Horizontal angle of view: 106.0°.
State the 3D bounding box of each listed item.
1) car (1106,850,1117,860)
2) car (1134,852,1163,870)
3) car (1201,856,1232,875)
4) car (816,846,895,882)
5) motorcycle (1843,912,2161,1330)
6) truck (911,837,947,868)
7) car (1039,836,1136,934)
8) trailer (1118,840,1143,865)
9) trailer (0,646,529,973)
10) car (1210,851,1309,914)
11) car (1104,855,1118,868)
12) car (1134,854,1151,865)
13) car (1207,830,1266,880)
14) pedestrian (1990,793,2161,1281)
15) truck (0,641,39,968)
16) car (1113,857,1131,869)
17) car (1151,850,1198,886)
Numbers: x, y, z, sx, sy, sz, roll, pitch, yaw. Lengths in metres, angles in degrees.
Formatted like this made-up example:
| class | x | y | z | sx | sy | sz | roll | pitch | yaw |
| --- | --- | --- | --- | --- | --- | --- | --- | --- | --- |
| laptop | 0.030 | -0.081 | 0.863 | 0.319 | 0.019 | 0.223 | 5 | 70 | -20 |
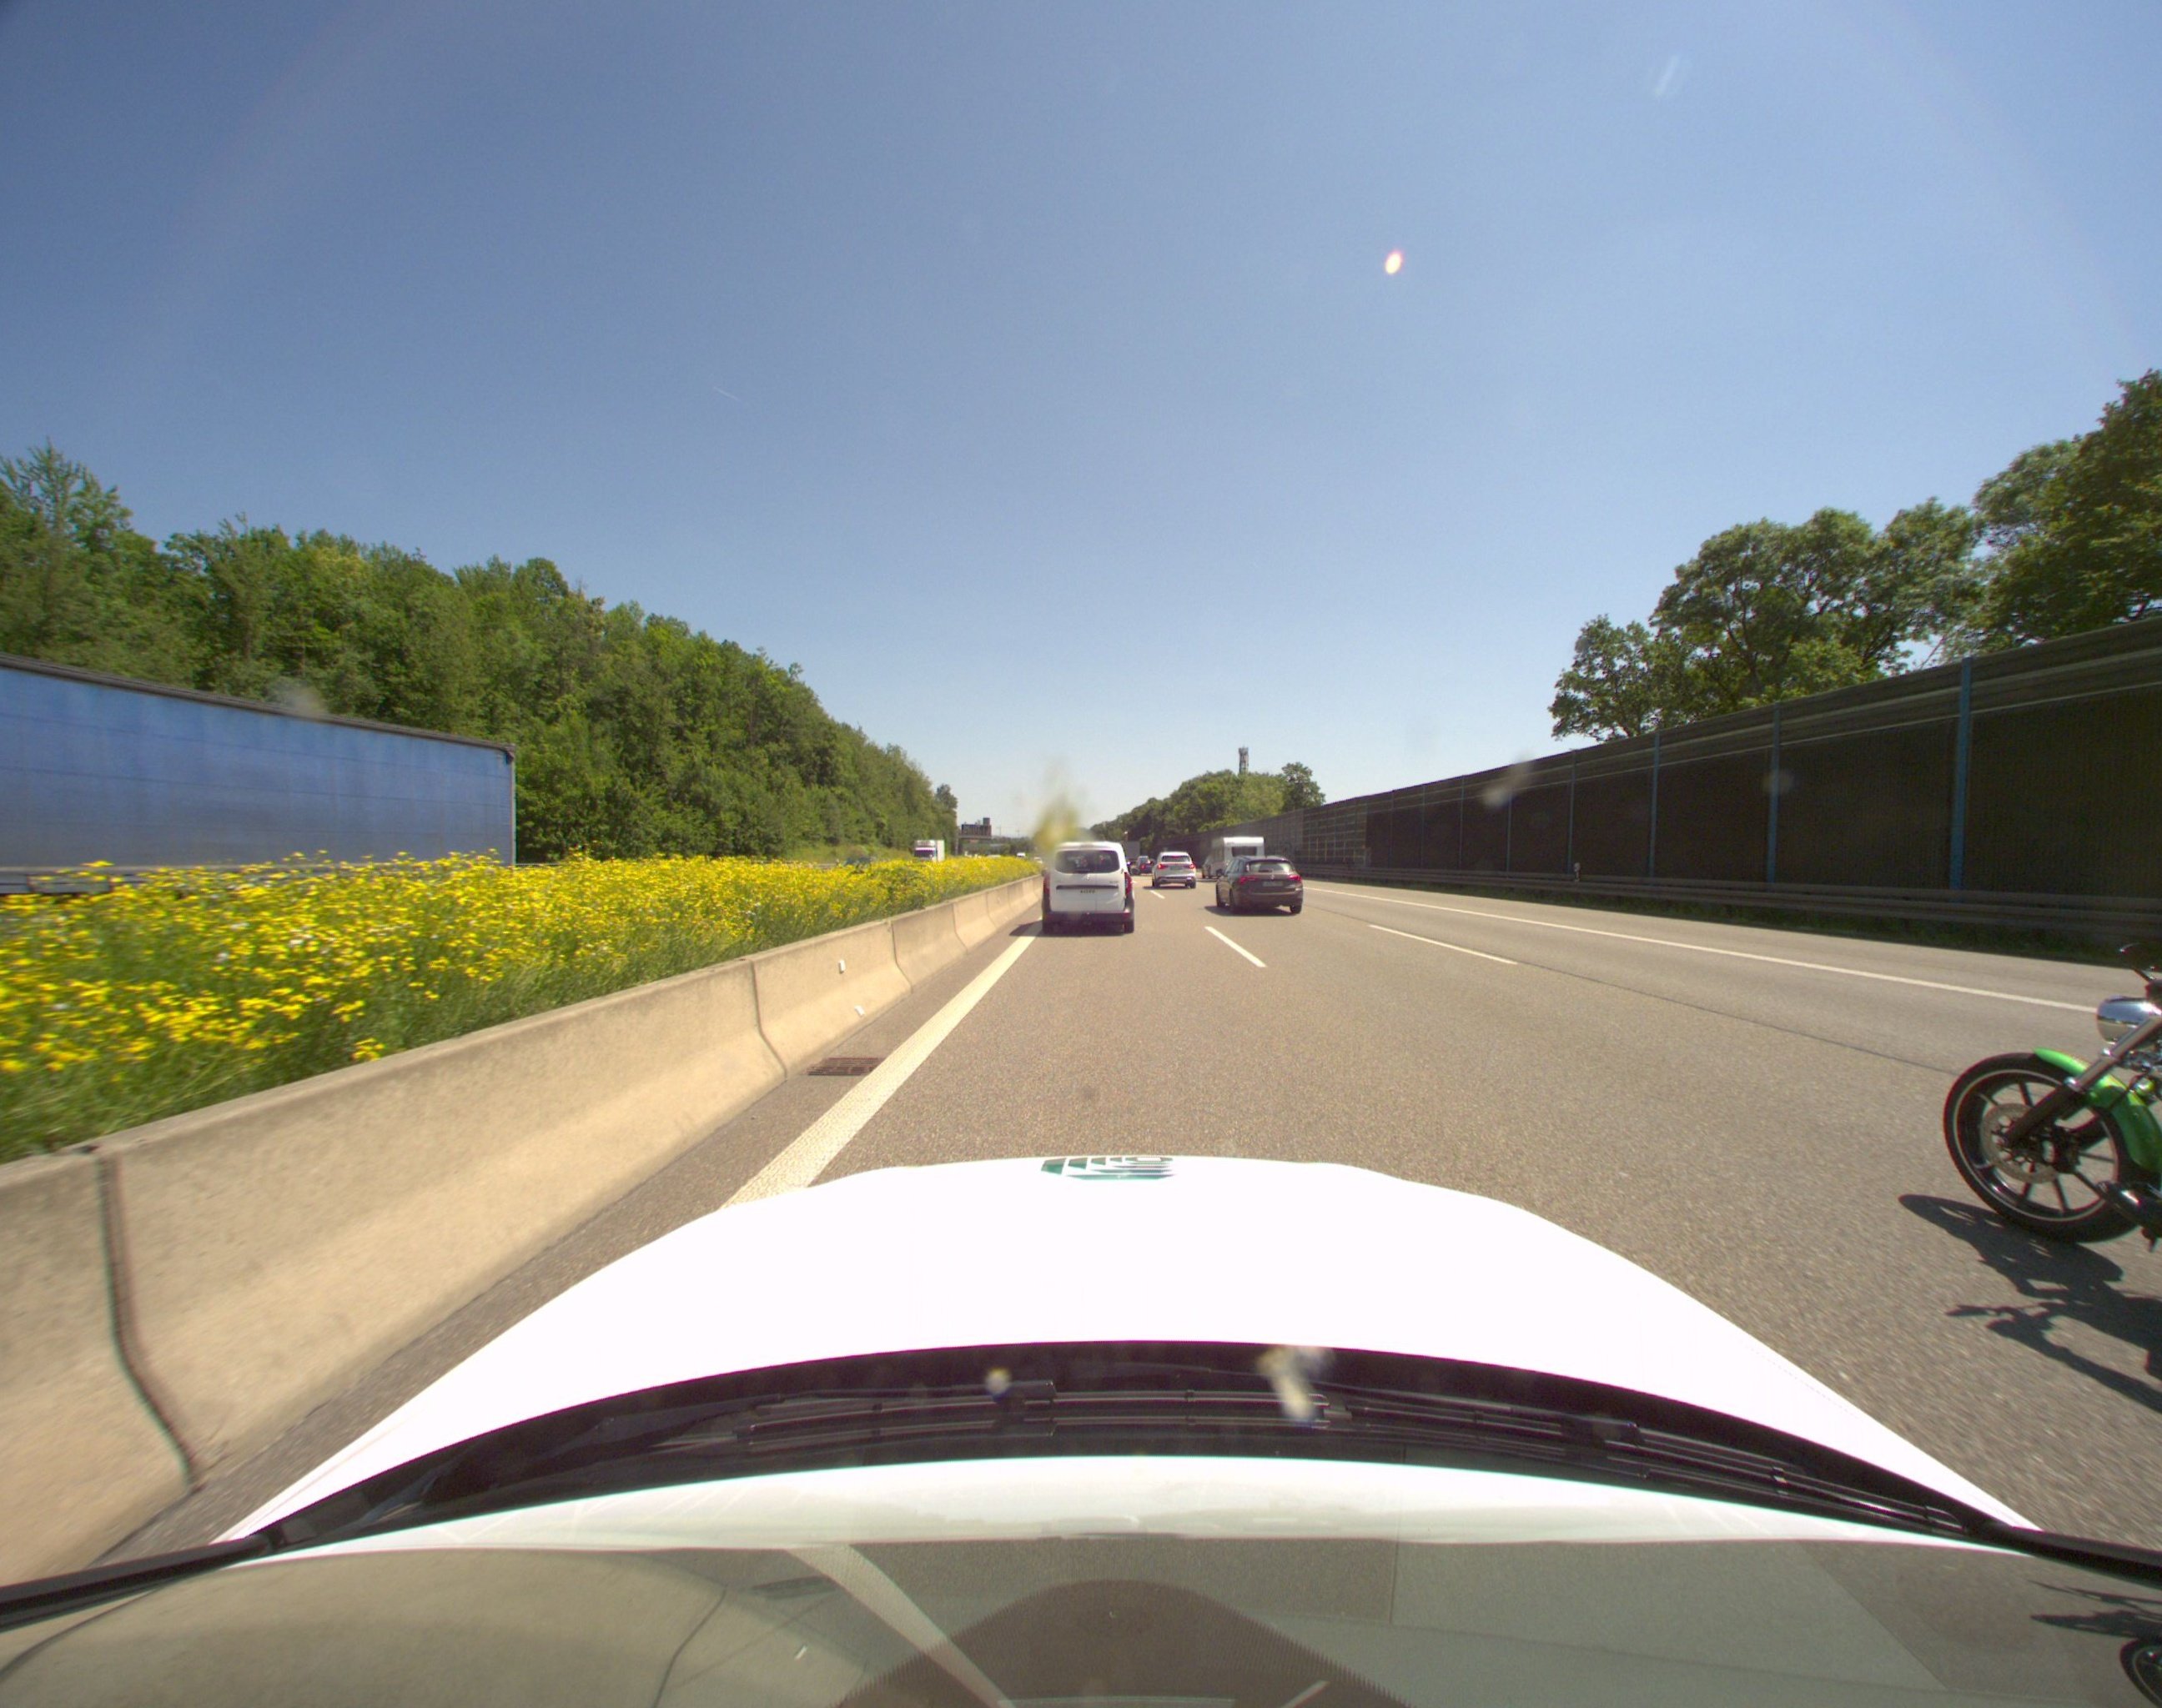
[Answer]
| class | x | y | z | sx | sy | sz | roll | pitch | yaw |
| --- | --- | --- | --- | --- | --- | --- | --- | --- | --- |
| car | 6.410 | 0.273 | 172.783 | 1.989 | 2.014 | 3.996 | -1 | 0 | -2 |
| car | 5.473 | 0.595 | 66.573 | 1.820 | 1.424 | 3.996 | 0 | 0 | -3 |
| car | 11.044 | 0.926 | 66.687 | 1.818 | 1.424 | 3.999 | 0 | 0 | -1 |
| car | -10.246 | 0.423 | 37.410 | 2.129 | 1.530 | 4.801 | 0 | 0 | 2 |
| motorcycle | 3.690 | 0.846 | 2.382 | 0.856 | 1.182 | 2.277 | 0 | 0 | 2 |
| truck | -17.275 | -0.173 | 92.987 | 2.726 | 3.475 | 7.315 | 0 | 0 | 1 |
| car | 0.192 | 0.593 | 17.218 | 1.795 | 1.808 | 4.002 | -1 | 0 | 2 |
| trailer | 8.114 | -0.168 | 135.773 | 3.074 | 3.985 | 10.313 | 0 | 0 | -2 |
| trailer | -14.013 | -0.527 | 13.344 | 2.770 | 3.857 | 10.173 | 0 | 0 | 2 |
| car | 4.662 | 0.684 | 21.918 | 1.831 | 1.513 | 4.403 | 0 | 0 | 2 |
| car | 4.571 | 1.188 | 125.935 | 1.819 | 1.989 | 3.997 | 1 | 0 | -2 |
| car | 8.334 | 0.769 | 109.869 | 1.820 | 1.424 | 3.996 | 0 | 0 | -3 |
| car | 9.276 | 0.086 | 49.070 | 2.470 | 2.766 | 6.221 | 0 | 0 | 1 |
| pedestrian | 3.699 | 0.553 | 2.617 | 0.848 | 1.479 | 0.638 | 0 | 0 | 1 |
| truck | -14.217 | -0.574 | 5.748 | 2.738 | 3.857 | 8.416 | 0 | 0 | 2 |
| car | 4.940 | 1.054 | 98.624 | 1.819 | 1.424 | 3.997 | 0 | 0 | -2 |
| car | 4.347 | 0.638 | 38.358 | 1.864 | 1.608 | 3.880 | 0 | 0 | 2 |
